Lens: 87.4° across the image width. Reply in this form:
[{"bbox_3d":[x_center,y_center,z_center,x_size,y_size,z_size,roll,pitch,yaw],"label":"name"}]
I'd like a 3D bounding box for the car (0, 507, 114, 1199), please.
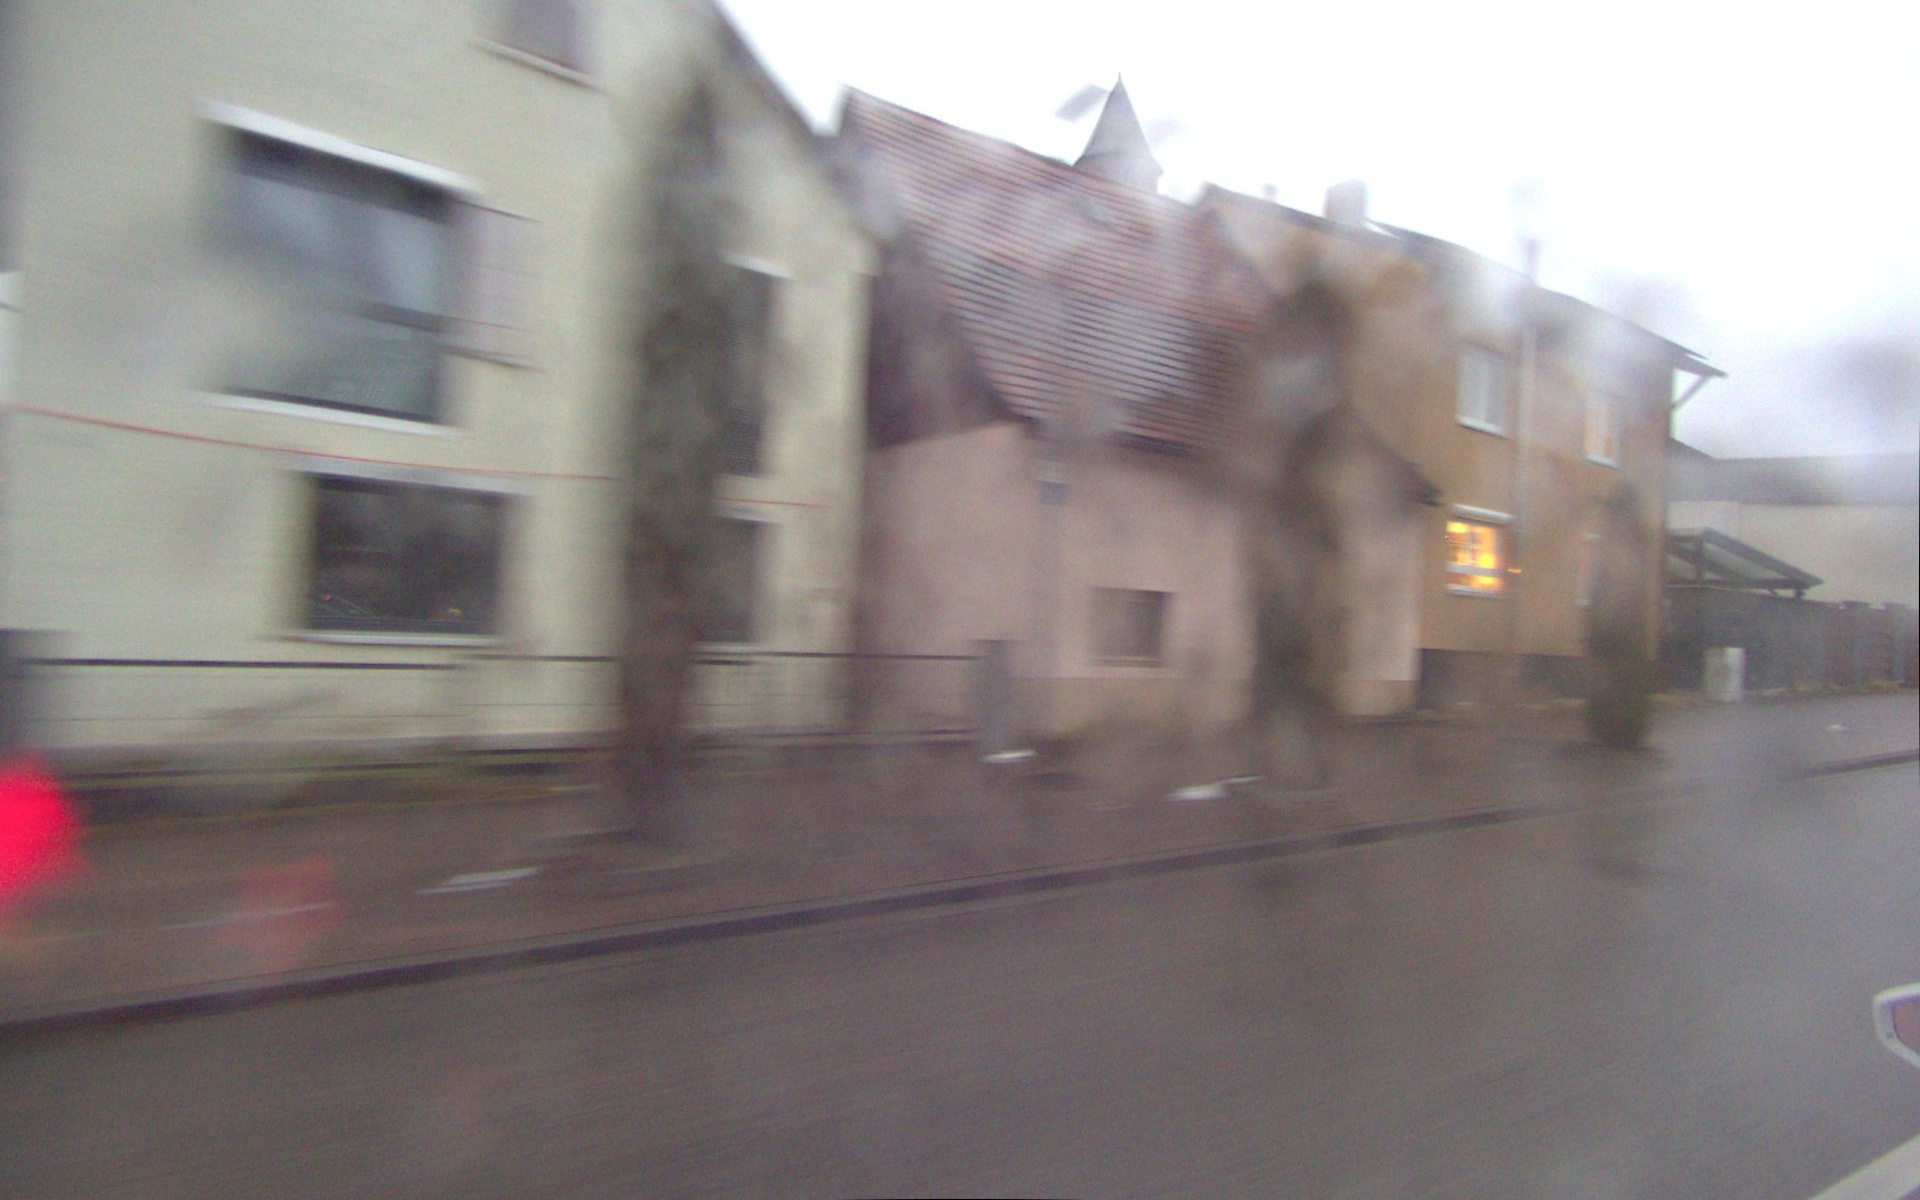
[{"bbox_3d":[-3.722,0.610,1.112,3.954,1.675,1.902,1,0,-31],"label":"car"}]
